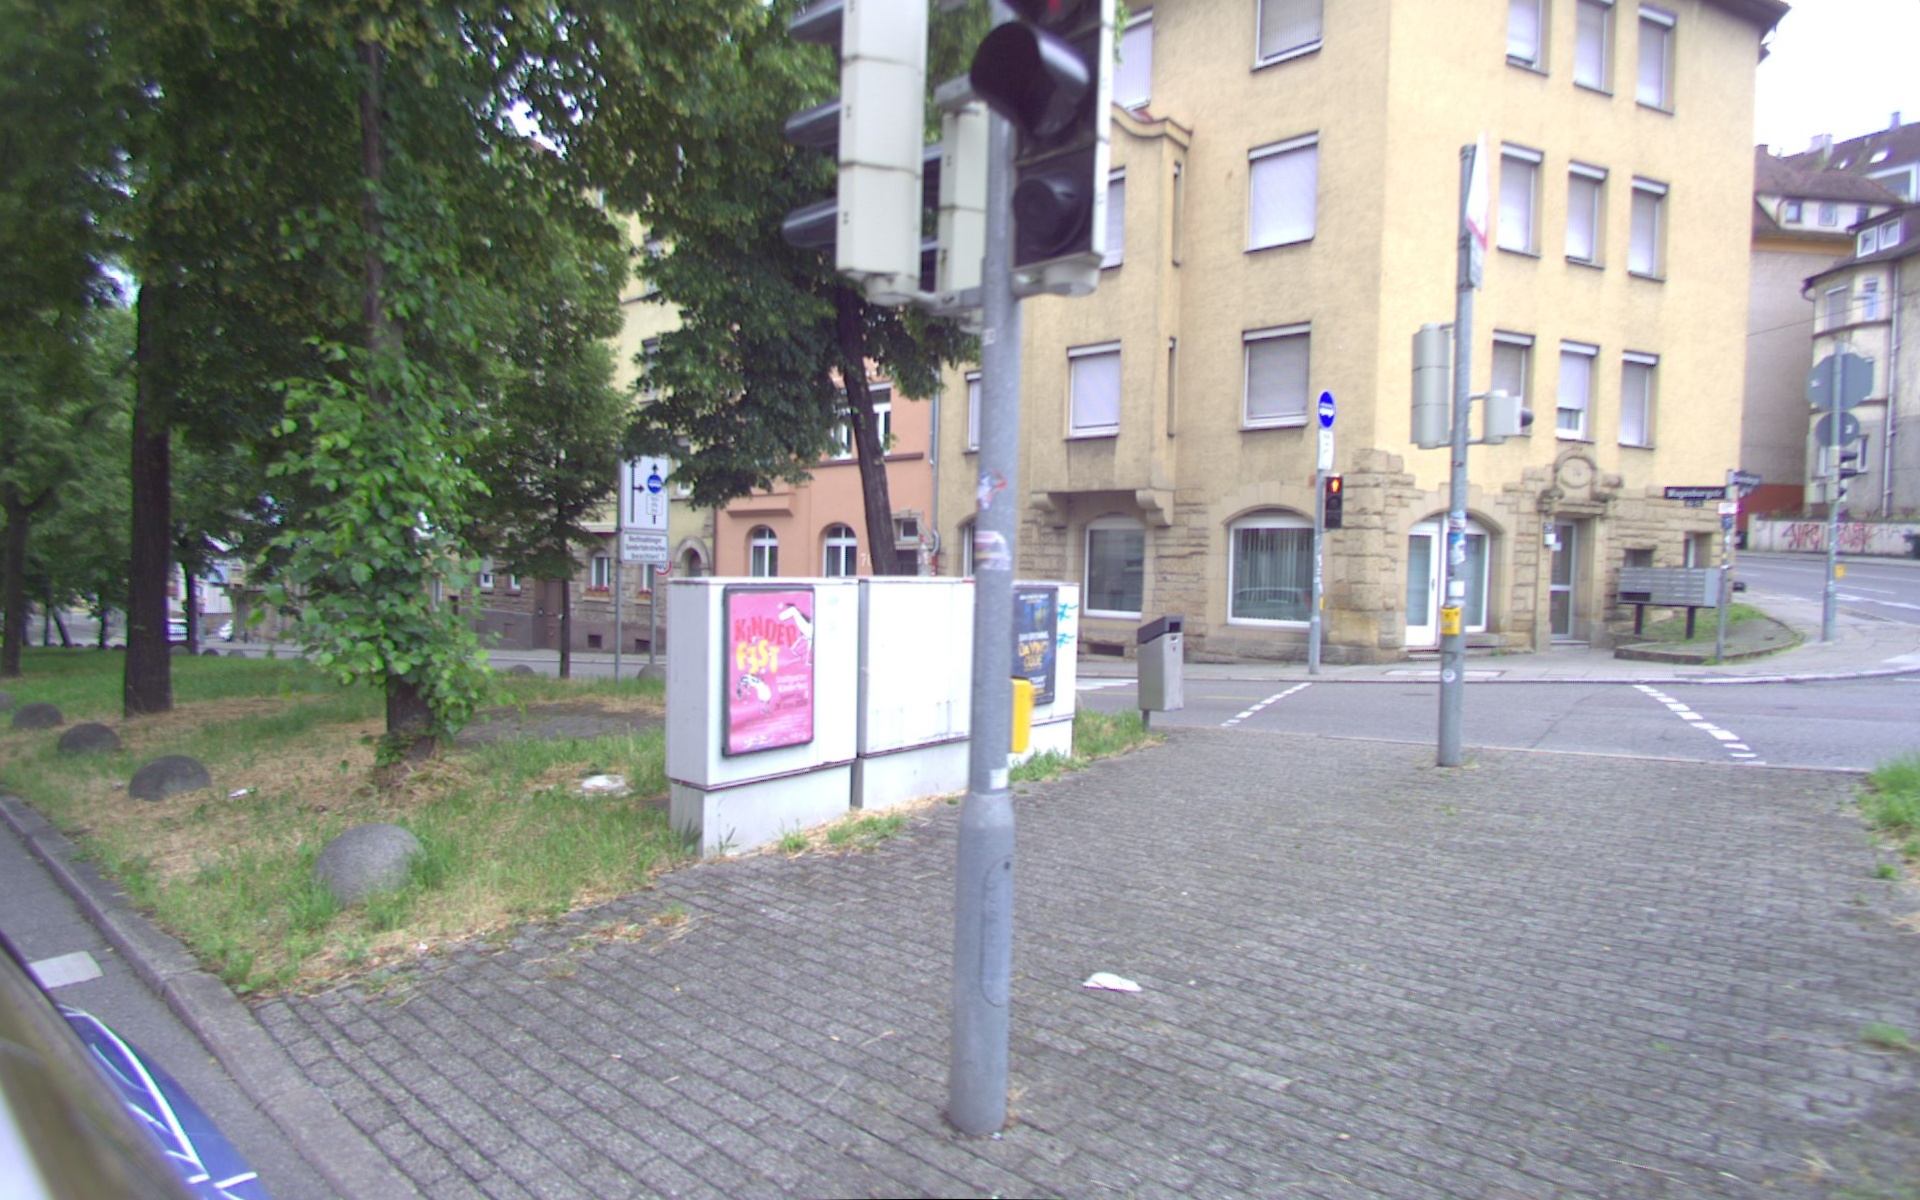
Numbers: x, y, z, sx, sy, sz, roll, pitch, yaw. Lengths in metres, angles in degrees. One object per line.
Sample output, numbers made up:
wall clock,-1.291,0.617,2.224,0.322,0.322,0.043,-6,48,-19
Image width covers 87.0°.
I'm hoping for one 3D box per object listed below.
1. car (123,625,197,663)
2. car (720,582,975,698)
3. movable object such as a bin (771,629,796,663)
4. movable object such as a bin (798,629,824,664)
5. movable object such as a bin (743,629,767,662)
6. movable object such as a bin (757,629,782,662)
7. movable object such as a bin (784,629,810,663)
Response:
car,-37.964,2.055,47.970,4.516,1.646,1.917,-2,0,41
car,-1.829,0.575,15.666,3.958,1.563,1.700,-1,-1,41
movable object such as a bin,-4.638,1.196,26.596,0.480,0.871,0.449,0,-1,-43
movable object such as a bin,-3.769,1.173,25.640,0.480,0.871,0.449,0,-1,-43
movable object such as a bin,-5.562,1.218,27.418,0.480,0.871,0.449,0,-1,-43
movable object such as a bin,-5.077,1.206,26.959,0.480,0.871,0.449,0,-1,-43
movable object such as a bin,-4.209,1.185,26.159,0.480,0.871,0.449,0,-1,-43
